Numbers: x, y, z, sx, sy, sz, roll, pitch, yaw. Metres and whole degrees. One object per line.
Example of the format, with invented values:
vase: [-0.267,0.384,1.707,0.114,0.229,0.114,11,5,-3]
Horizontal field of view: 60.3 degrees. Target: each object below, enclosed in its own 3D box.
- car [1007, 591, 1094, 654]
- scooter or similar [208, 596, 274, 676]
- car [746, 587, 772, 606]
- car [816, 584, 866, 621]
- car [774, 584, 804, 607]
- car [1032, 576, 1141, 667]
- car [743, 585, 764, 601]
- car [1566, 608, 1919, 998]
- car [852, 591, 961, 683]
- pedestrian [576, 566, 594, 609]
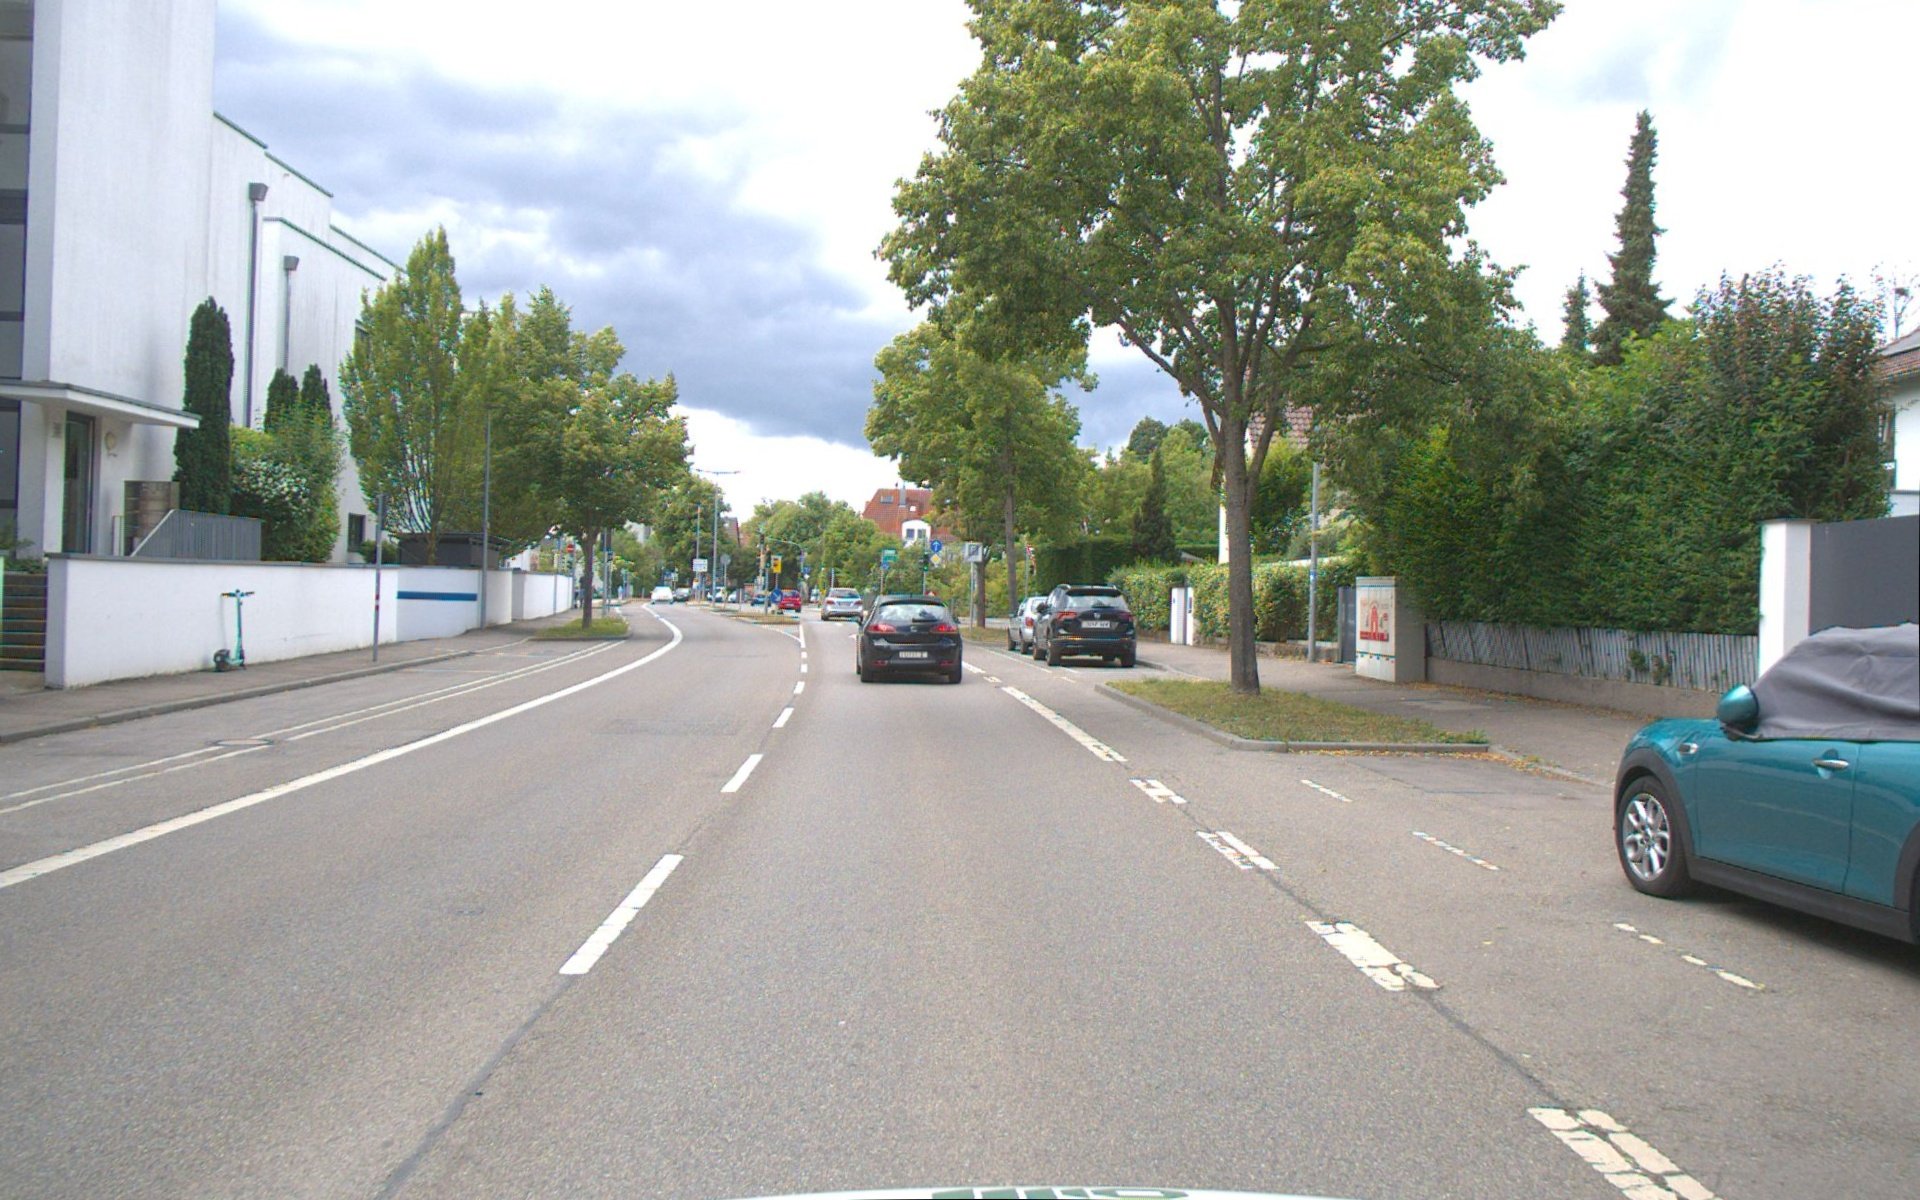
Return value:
car: [2.197,0.543,41.119,1.653,1.474,3.575,1,0,-5]
scooter or similar: [-10.901,0.527,25.114,0.492,1.174,1.300,1,0,-4]
car: [-17.944,-0.290,147.814,1.954,1.534,3.997,2,-1,-4]
car: [-5.485,0.139,75.785,1.957,1.585,3.991,-2,-1,-9]
car: [-11.753,-0.305,113.643,1.955,1.557,3.994,1,0,-7]
car: [2.624,0.435,35.115,1.753,1.803,3.979,1,0,-4]
car: [-22.477,-0.783,180.239,1.933,1.705,3.875,1,0,-2]
car: [4.417,0.794,7.461,1.650,1.457,4.041,1,0,-4]
car: [-0.904,0.611,28.678,1.747,1.474,3.557,1,0,-1]
pedestrian: [-18.627,-0.628,82.220,0.738,2.090,0.723,2,-1,-8]
